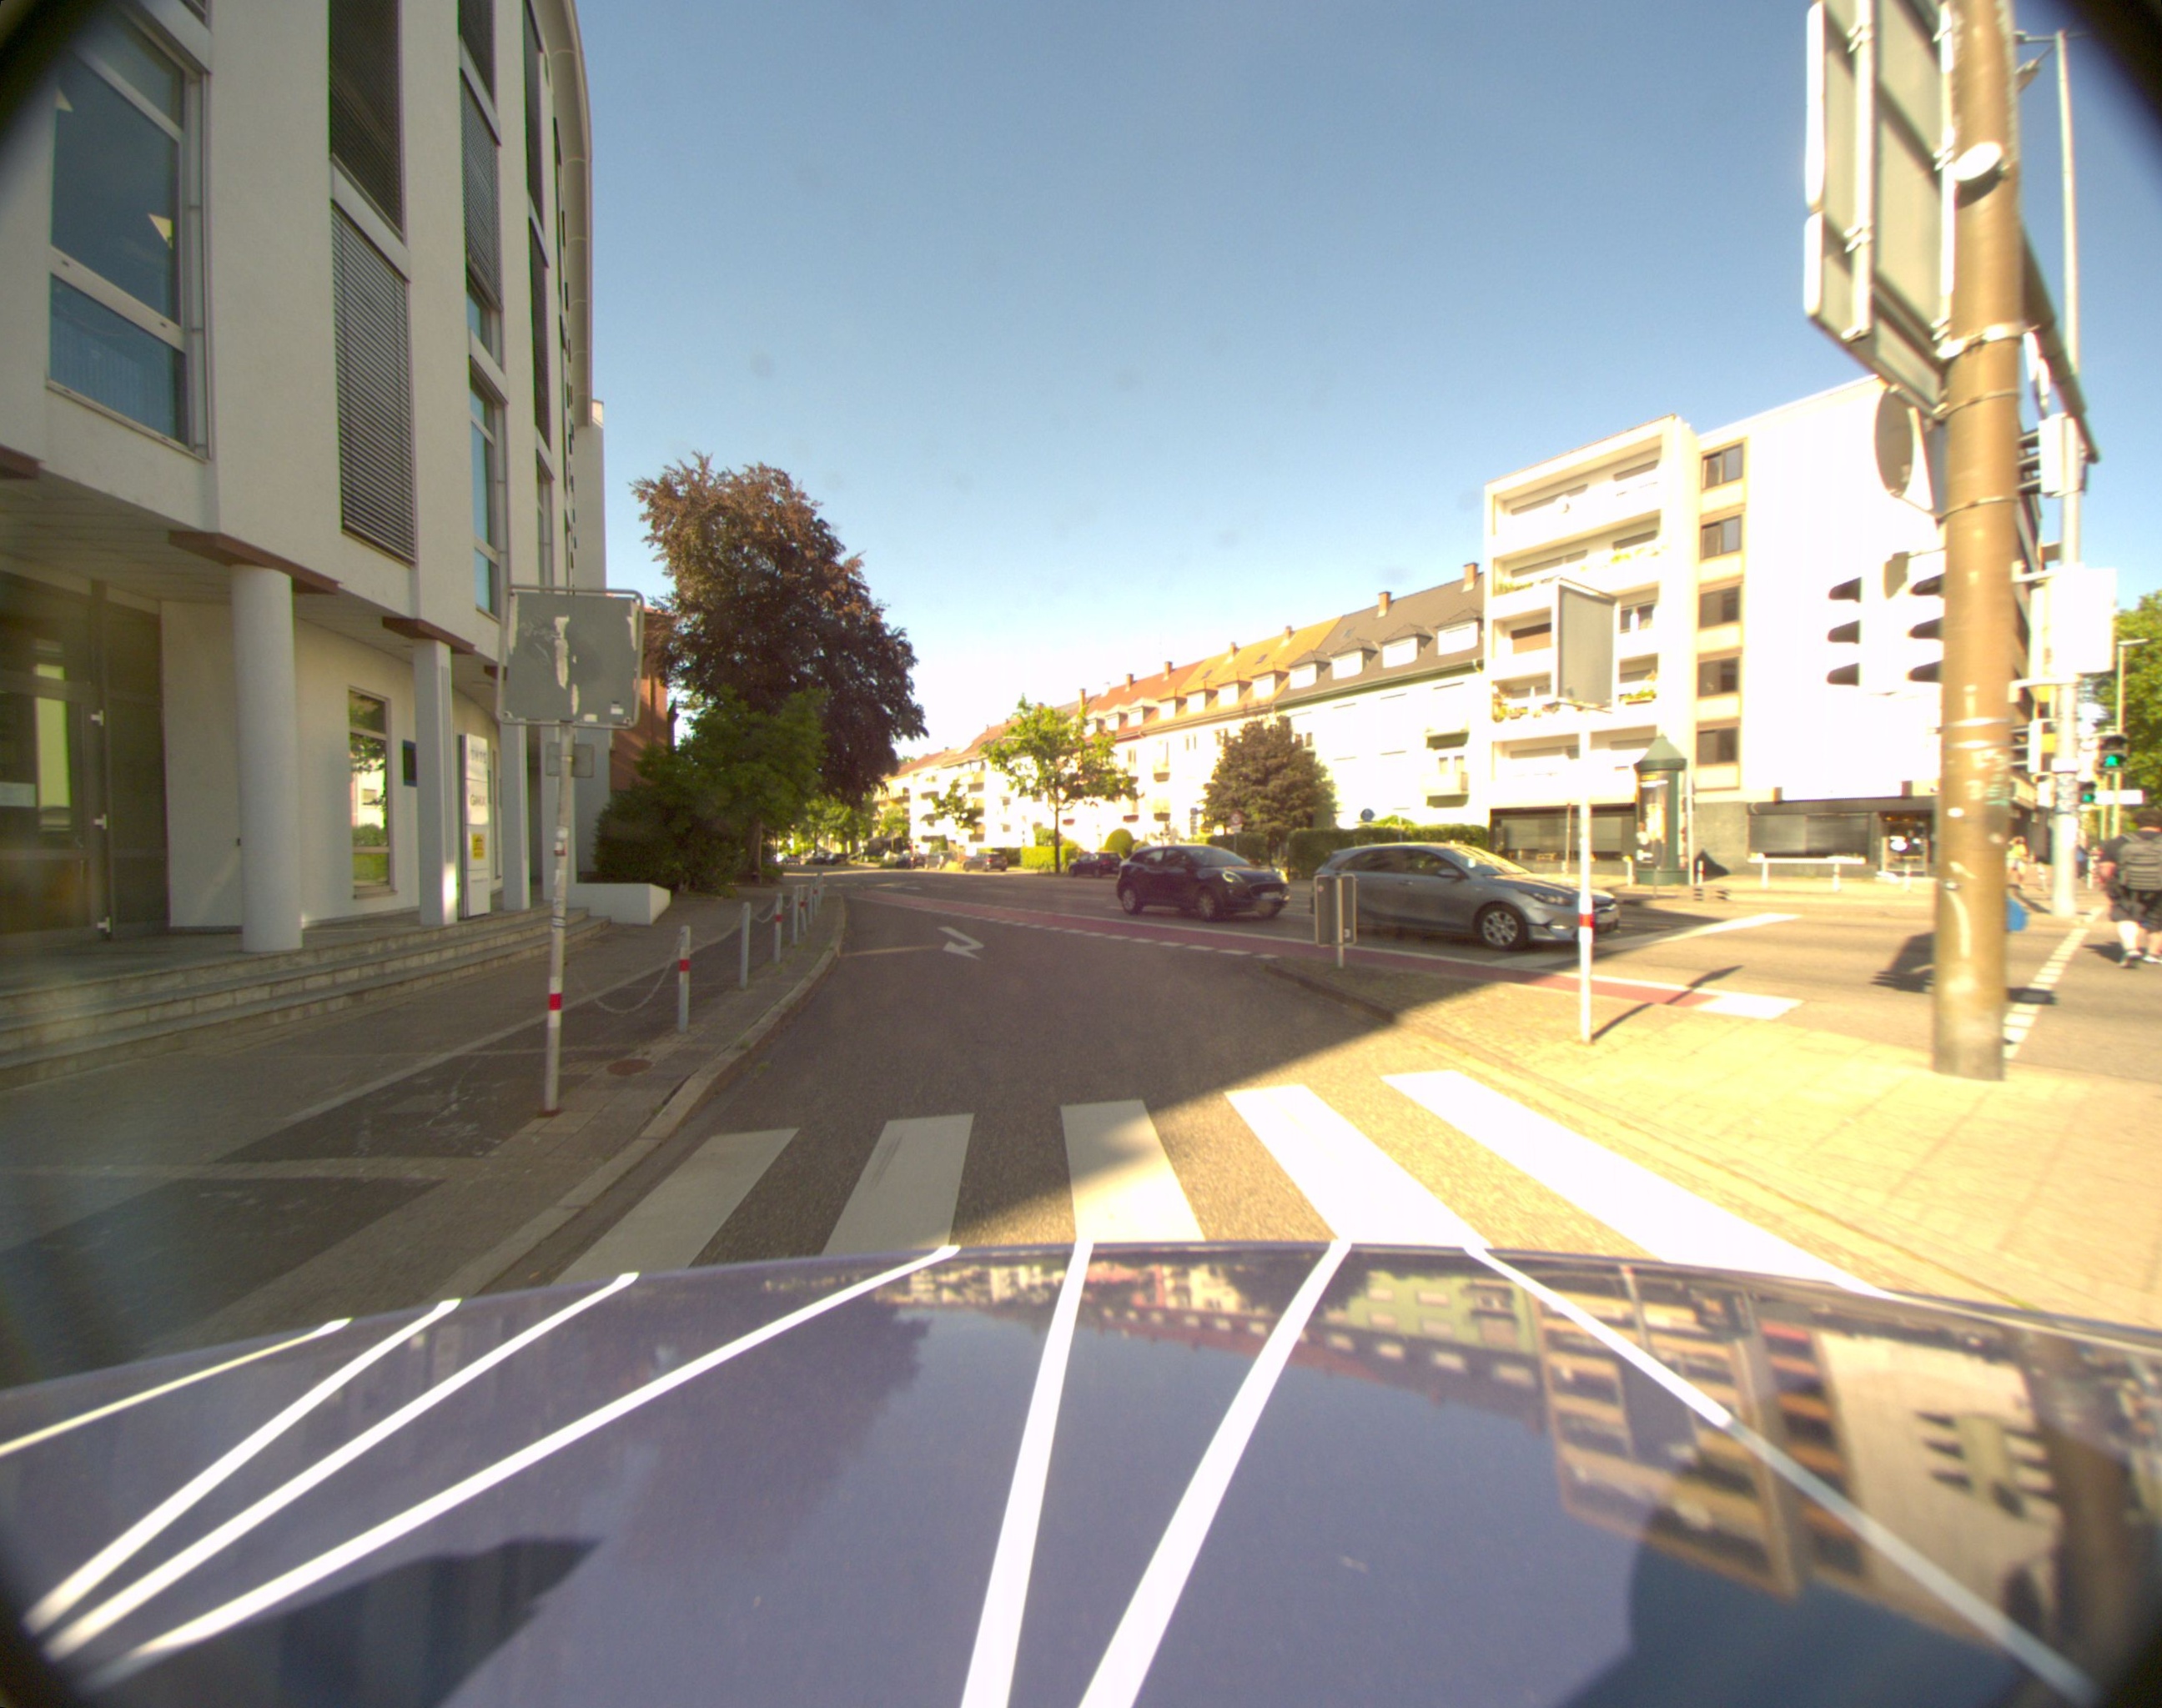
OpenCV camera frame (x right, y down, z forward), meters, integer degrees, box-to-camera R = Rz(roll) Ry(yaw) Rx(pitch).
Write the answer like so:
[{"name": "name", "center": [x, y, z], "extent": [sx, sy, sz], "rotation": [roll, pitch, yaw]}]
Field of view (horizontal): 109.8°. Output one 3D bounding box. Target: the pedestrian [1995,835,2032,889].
[{"name": "pedestrian", "center": [29.855, 0.251, 24.325], "extent": [0.698, 1.670, 0.718], "rotation": [-5, 3, -37]}]

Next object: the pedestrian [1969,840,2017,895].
[{"name": "pedestrian", "center": [28.498, 0.416, 23.751], "extent": [0.718, 1.670, 0.698], "rotation": [-2, 3, 25]}]

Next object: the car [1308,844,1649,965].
[{"name": "car", "center": [5.608, 0.599, 11.229], "extent": [1.887, 1.400, 4.047], "rotation": [-2, 1, -32]}]

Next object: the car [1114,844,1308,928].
[{"name": "car", "center": [2.569, 0.587, 15.915], "extent": [1.699, 1.483, 4.065], "rotation": [-2, 1, -32]}]

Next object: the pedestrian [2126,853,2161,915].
[{"name": "pedestrian", "center": [21.478, 0.593, 15.181], "extent": [0.527, 1.196, 0.646], "rotation": [-5, 3, -28]}]

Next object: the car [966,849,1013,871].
[{"name": "car", "center": [-6.723, 0.407, 55.562], "extent": [1.808, 1.449, 3.995], "rotation": [-5, 2, -32]}]

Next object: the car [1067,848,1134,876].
[{"name": "car", "center": [1.059, 0.459, 43.411], "extent": [1.808, 1.422, 4.040], "rotation": [-5, 2, -32]}]

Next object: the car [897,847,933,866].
[{"name": "car", "center": [-15.017, 0.228, 68.600], "extent": [1.808, 1.553, 4.156], "rotation": [-5, 2, -32]}]

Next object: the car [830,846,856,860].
[{"name": "car", "center": [-28.159, -0.087, 89.832], "extent": [1.808, 1.553, 3.914], "rotation": [-5, 2, -32]}]

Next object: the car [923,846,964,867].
[{"name": "car", "center": [-11.530, 0.206, 63.567], "extent": [1.808, 1.553, 4.156], "rotation": [-5, 2, -32]}]

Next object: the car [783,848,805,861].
[{"name": "car", "center": [-37.084, 0.070, 98.223], "extent": [1.808, 1.552, 4.156], "rotation": [-1, 1, -32]}]

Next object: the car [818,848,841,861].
[{"name": "car", "center": [-31.392, 0.081, 94.767], "extent": [1.808, 1.553, 3.914], "rotation": [-5, 2, -32]}]

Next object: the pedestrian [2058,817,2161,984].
[{"name": "pedestrian", "center": [11.217, 0.451, 7.950], "extent": [0.796, 1.634, 0.985], "rotation": [-3, 2, 17]}]

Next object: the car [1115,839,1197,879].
[{"name": "car", "center": [3.797, 0.267, 39.235], "extent": [1.808, 1.847, 4.156], "rotation": [-5, 2, -36]}]
